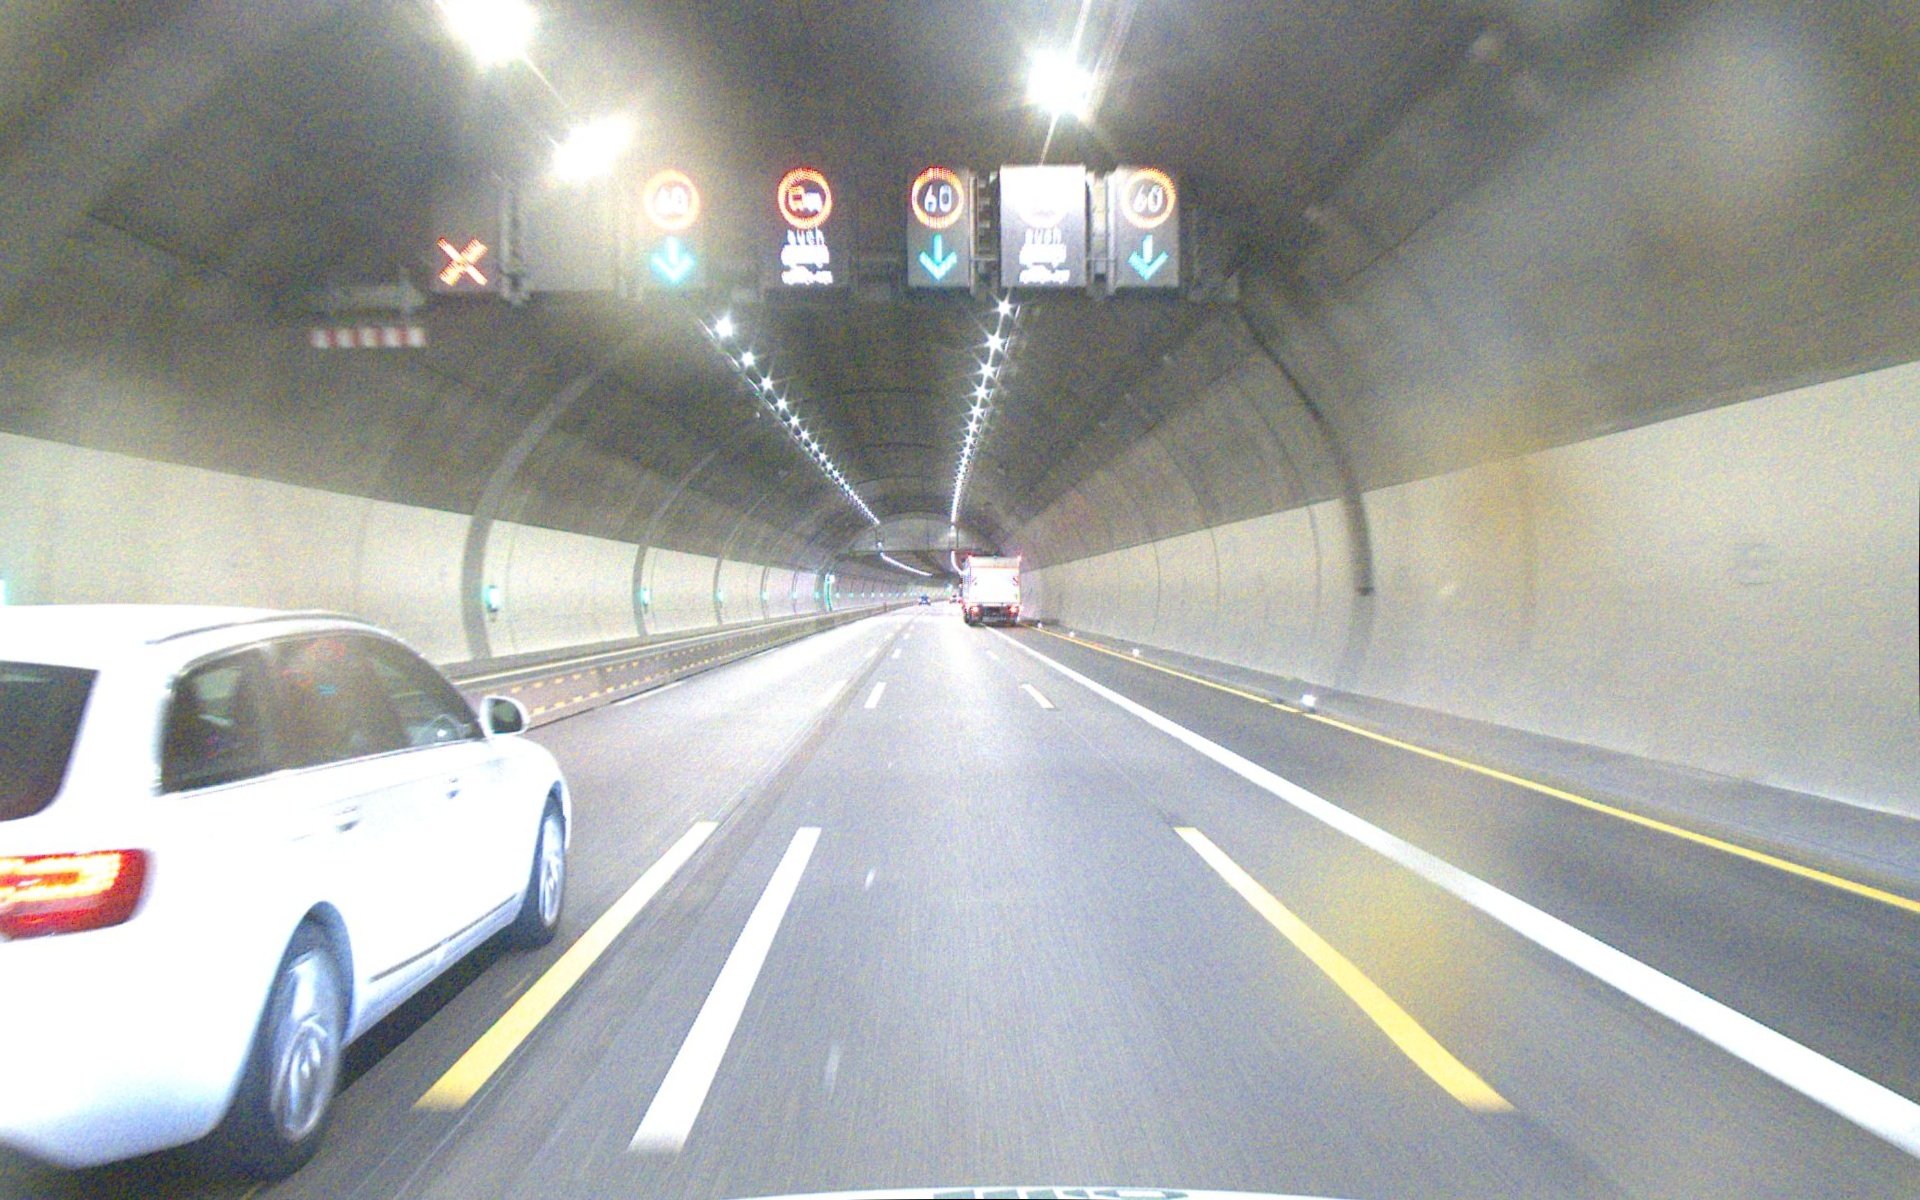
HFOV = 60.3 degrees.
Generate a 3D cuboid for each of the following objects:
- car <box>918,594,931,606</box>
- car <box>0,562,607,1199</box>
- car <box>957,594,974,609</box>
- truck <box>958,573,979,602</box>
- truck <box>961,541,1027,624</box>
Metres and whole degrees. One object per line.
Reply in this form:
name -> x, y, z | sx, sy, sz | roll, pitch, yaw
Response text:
car -> -4.835, 0.021, 225.423 | 1.723, 1.486, 4.118 | -1, 1, -1
car -> -2.597, 0.684, 5.476 | 1.865, 1.511, 4.942 | 1, 0, -1
car -> 0.565, 0.169, 175.061 | 1.704, 1.486, 3.961 | -1, 1, 1
truck -> 1.279, -1.778, 240.162 | 3.003, 3.986, 10.368 | -1, -1, 1
truck -> 1.672, -0.795, 85.977 | 3.029, 3.986, 10.365 | -1, -1, -1
